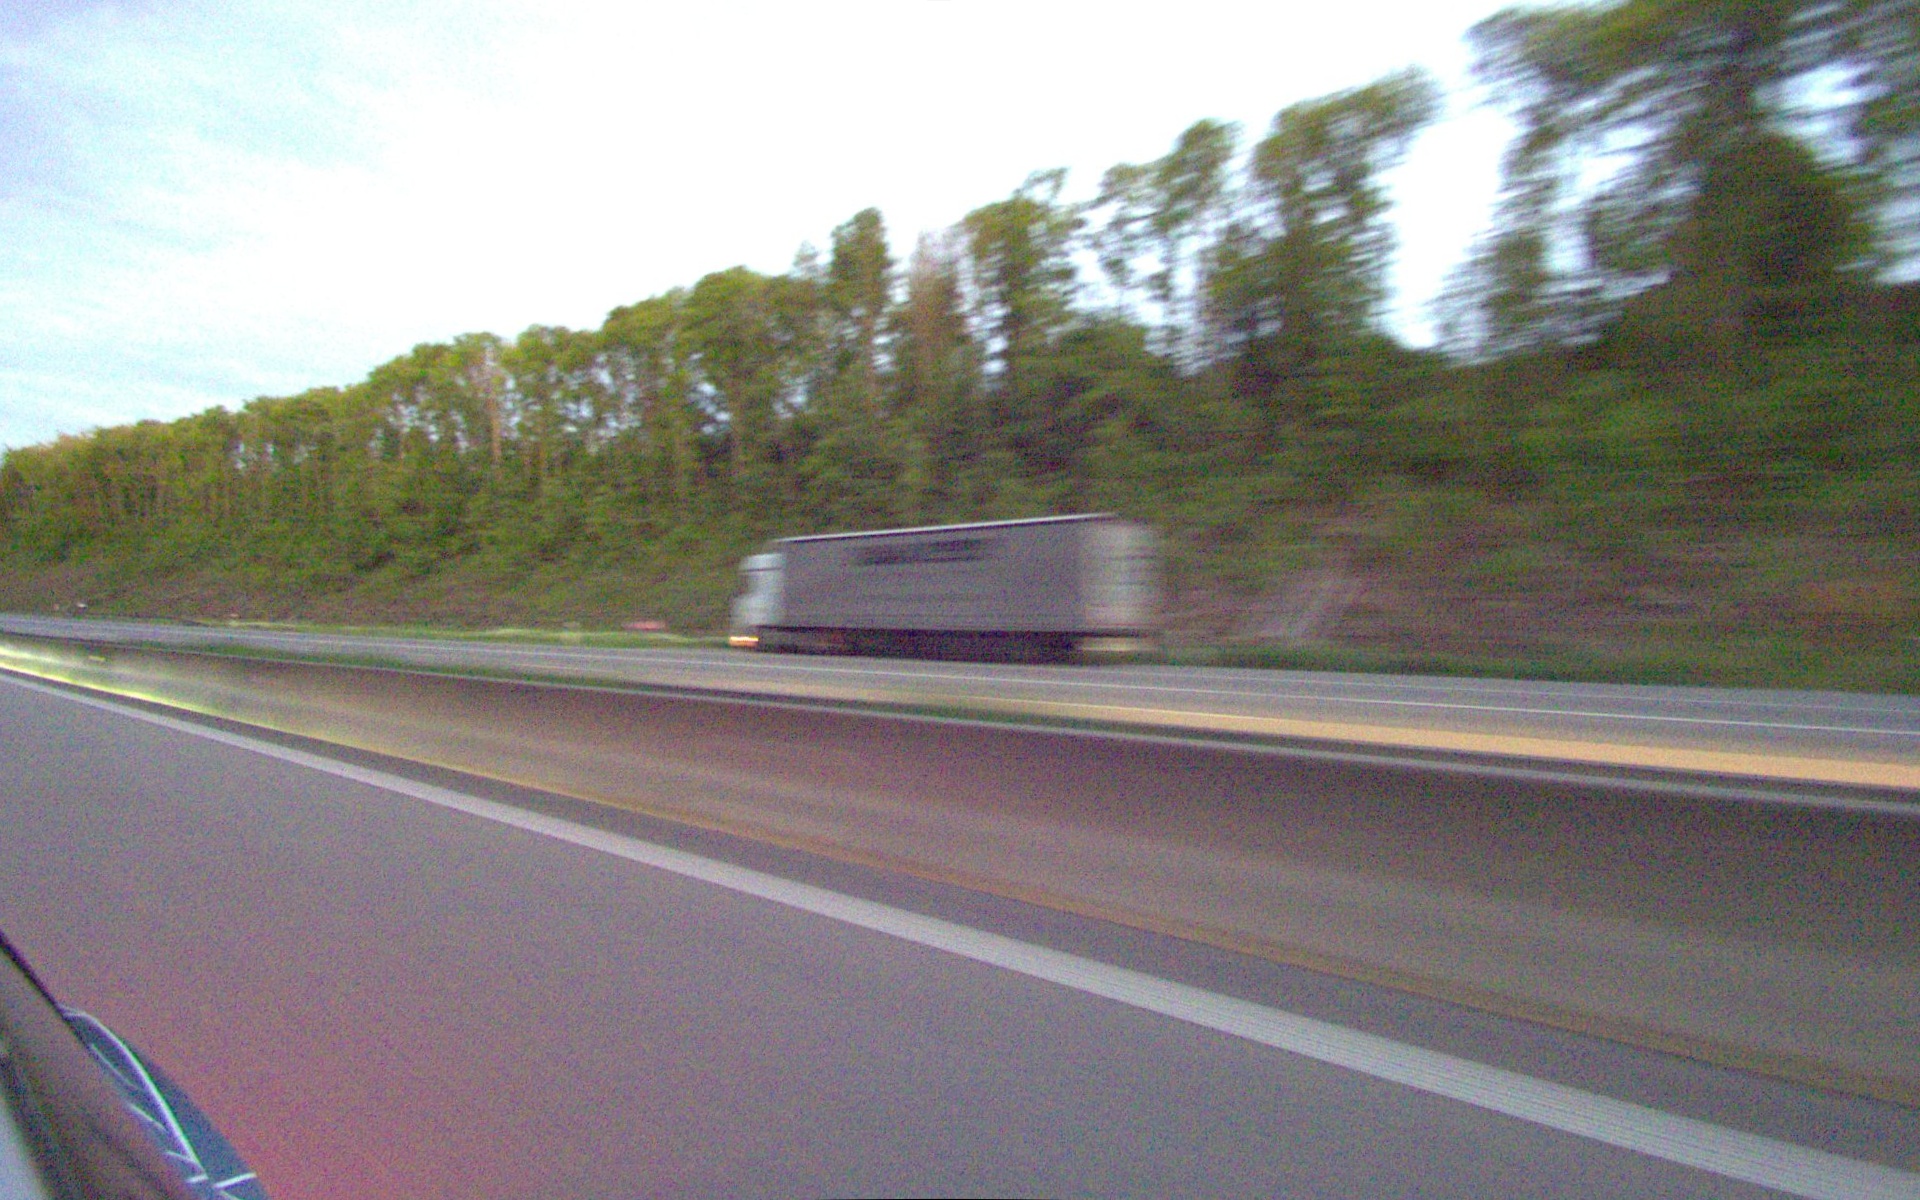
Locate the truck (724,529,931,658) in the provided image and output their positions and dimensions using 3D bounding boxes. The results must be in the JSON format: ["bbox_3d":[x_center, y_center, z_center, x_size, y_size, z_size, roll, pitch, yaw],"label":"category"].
[{"bbox_3d":[-4.902,-0.193,36.314,7.688,4.136,3.157,0,0,42],"label":"truck"}]

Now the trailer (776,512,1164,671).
[{"bbox_3d":[-0.340,-0.197,32.164,13.736,4.136,3.157,0,0,42],"label":"trailer"}]
